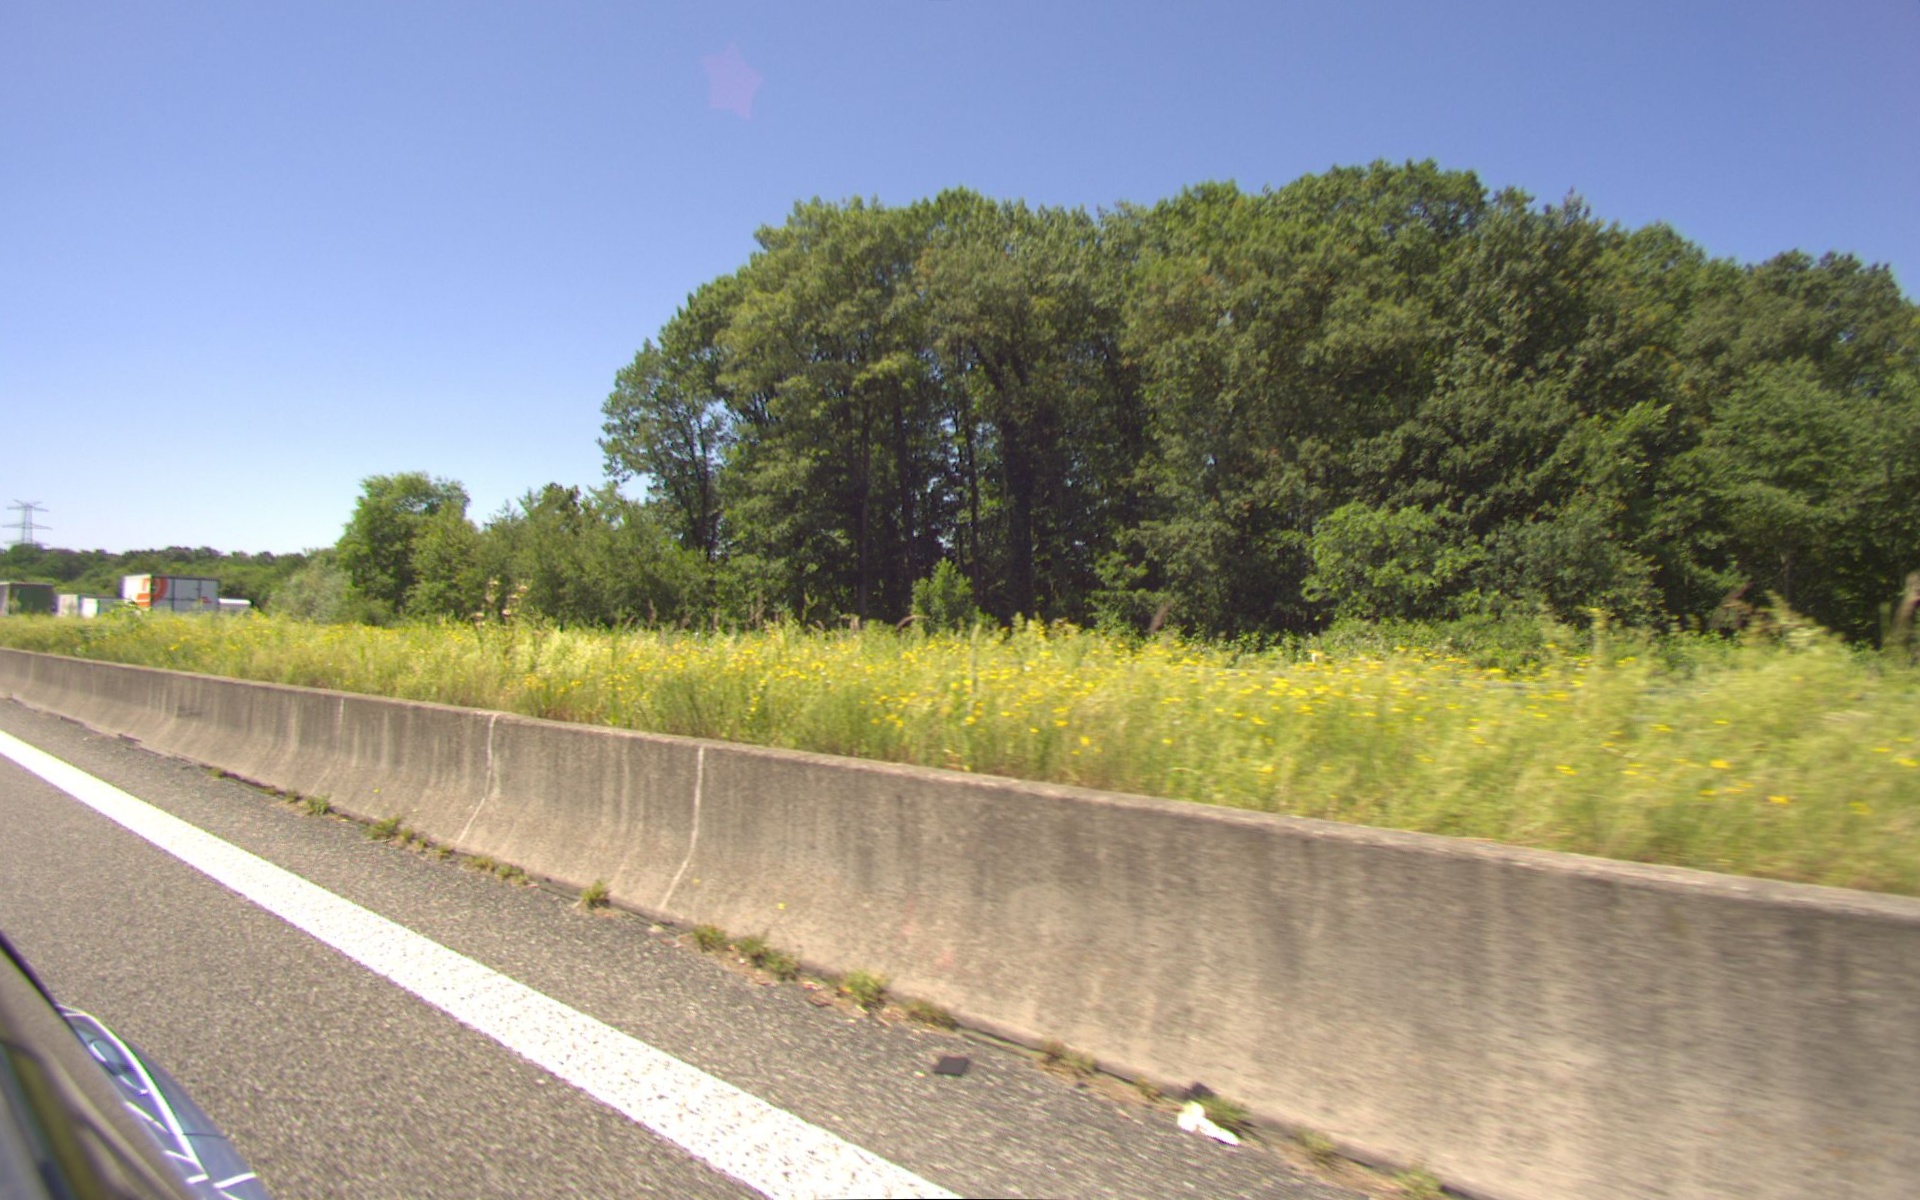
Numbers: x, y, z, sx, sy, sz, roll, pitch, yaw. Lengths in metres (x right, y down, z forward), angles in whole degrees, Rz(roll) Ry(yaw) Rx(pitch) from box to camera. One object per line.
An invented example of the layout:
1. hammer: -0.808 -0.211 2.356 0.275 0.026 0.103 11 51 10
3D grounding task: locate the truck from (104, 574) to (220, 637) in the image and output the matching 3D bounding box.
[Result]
1. truck: -32.017 0.217 40.516 6.071 2.344 2.289 0 -1 38

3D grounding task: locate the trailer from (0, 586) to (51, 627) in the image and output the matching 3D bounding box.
1. trailer: -75.527 0.580 80.500 14.218 2.992 2.616 -1 -1 39

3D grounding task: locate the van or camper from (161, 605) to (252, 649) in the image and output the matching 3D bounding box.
1. van or camper: -36.745 1.253 49.291 5.880 2.029 2.200 0 0 39

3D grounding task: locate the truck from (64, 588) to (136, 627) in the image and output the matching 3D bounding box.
1. truck: -69.403 0.666 81.594 10.477 2.964 2.660 -1 -1 40
